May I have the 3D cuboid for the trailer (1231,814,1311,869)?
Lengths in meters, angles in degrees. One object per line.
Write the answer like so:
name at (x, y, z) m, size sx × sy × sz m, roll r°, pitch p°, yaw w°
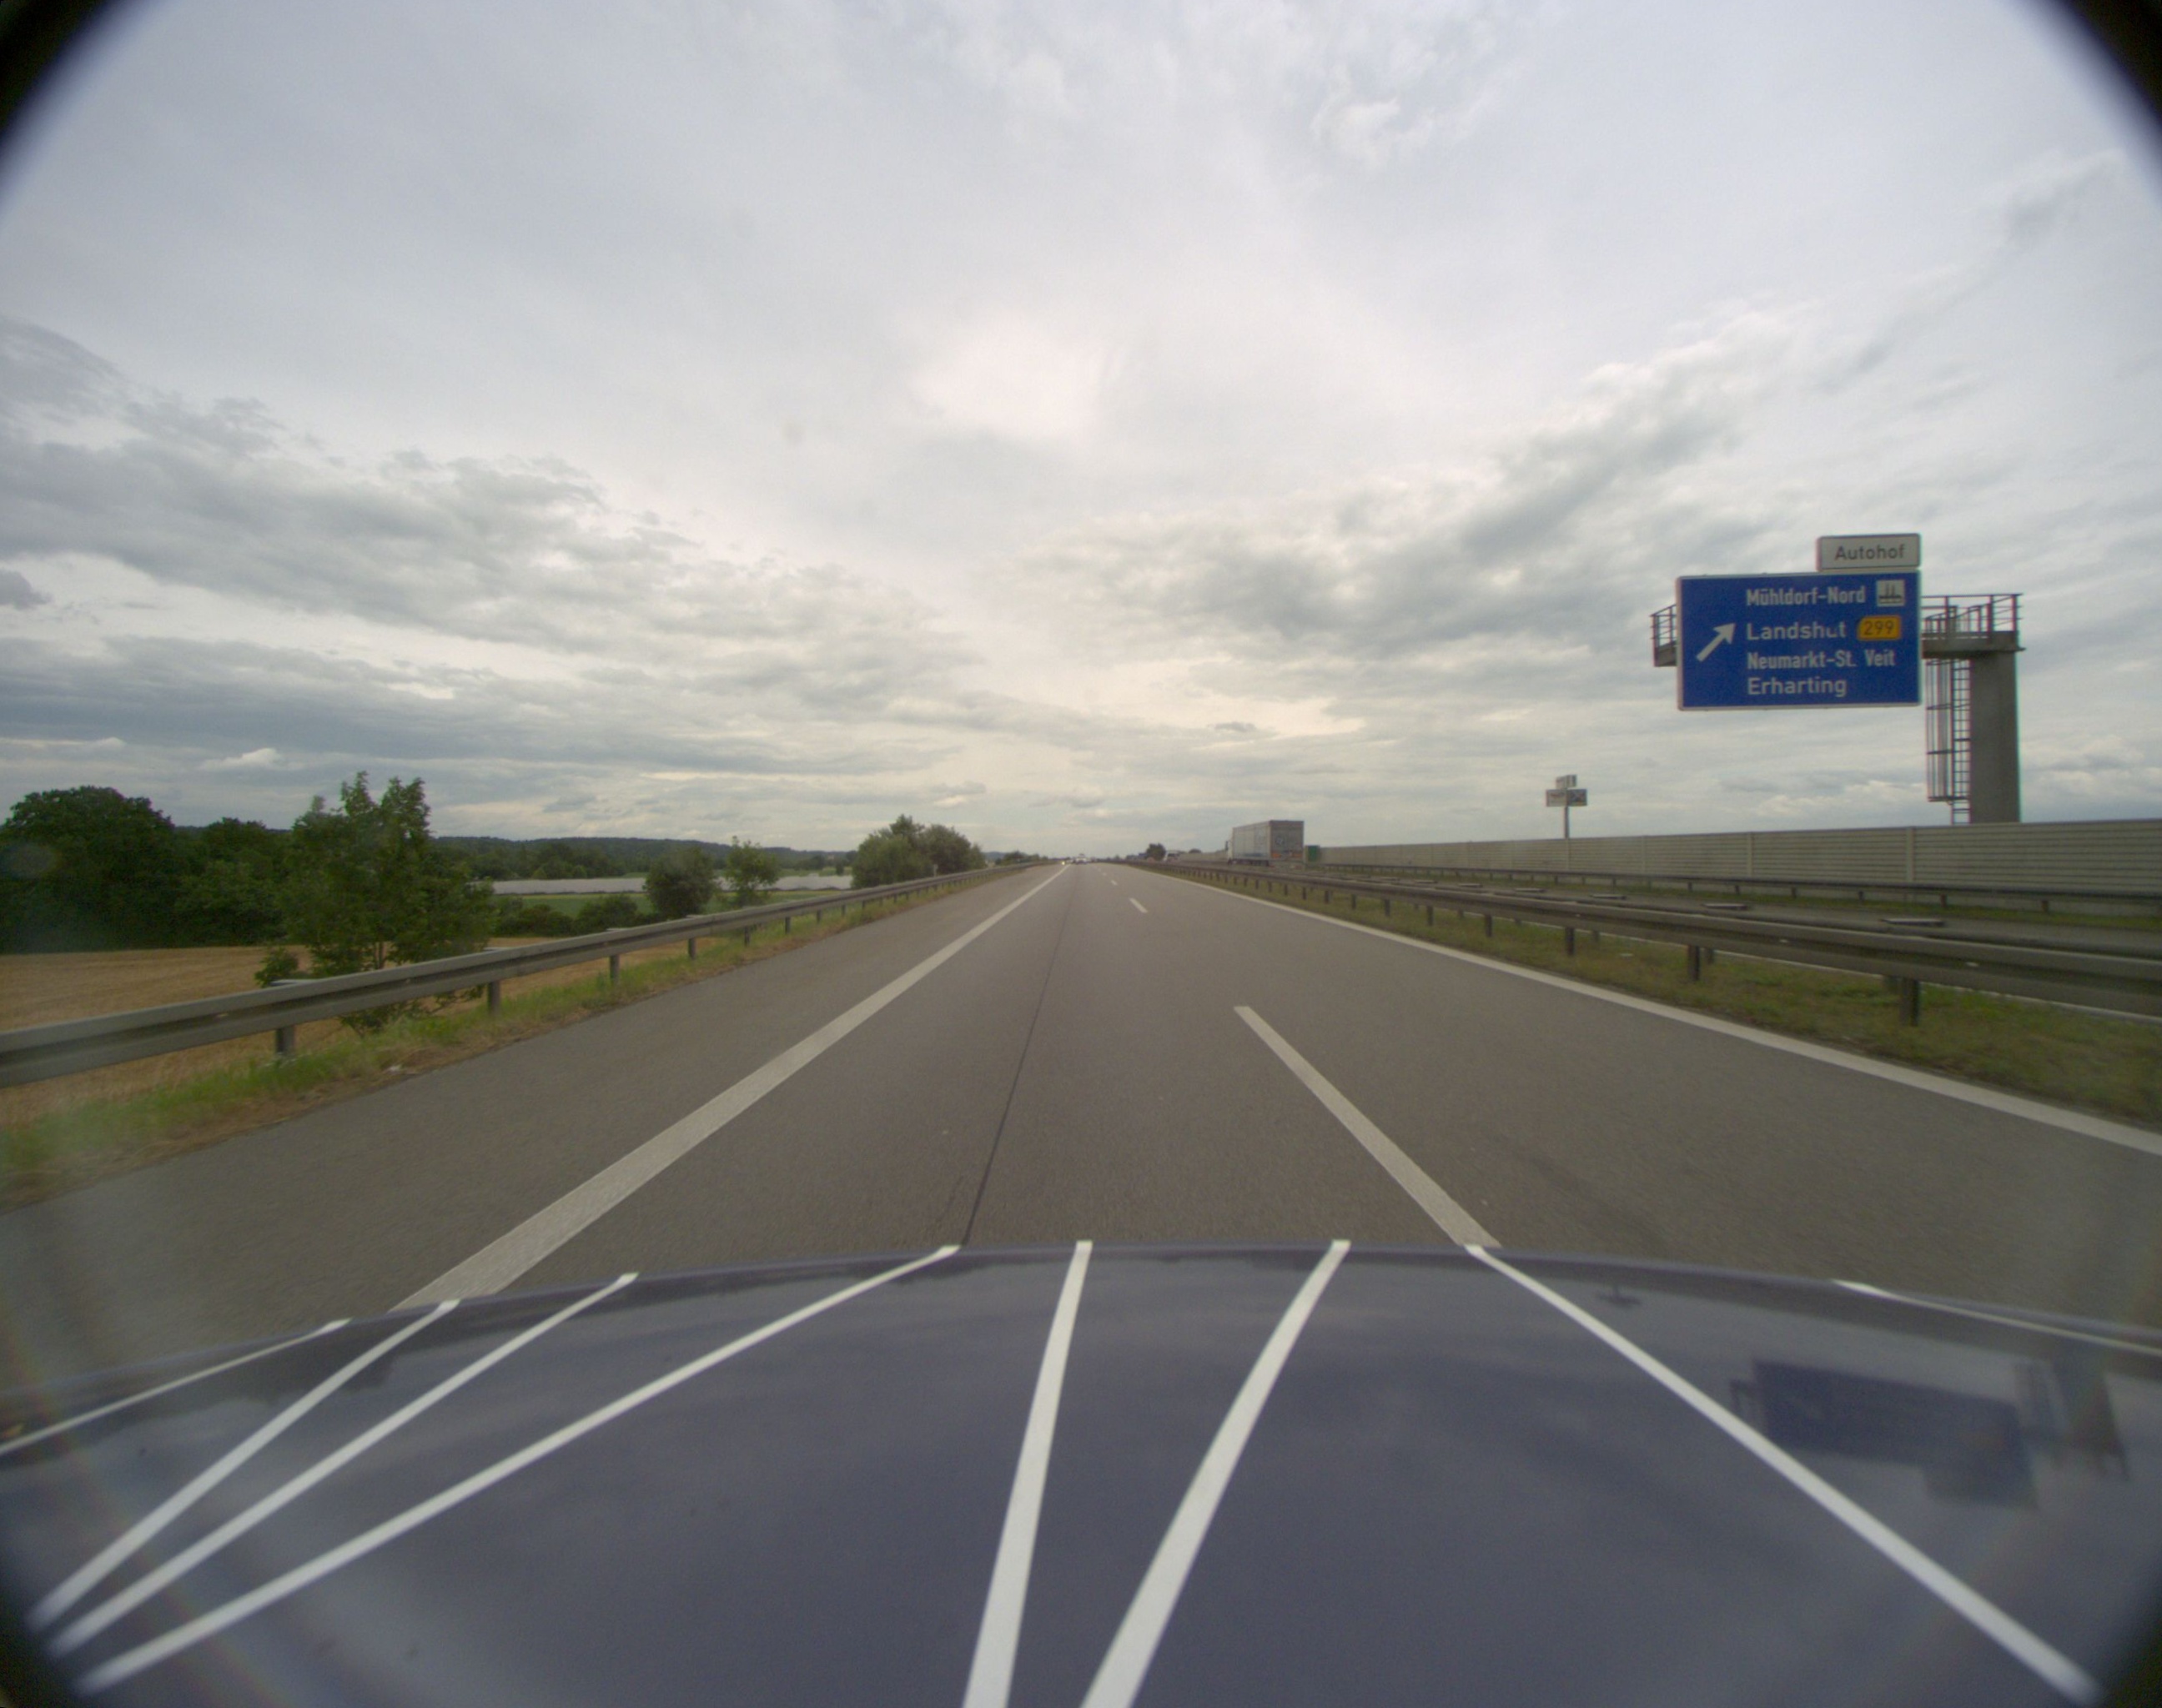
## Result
trailer at (15.491, -0.950, 63.316) m, size 3.187 × 4.052 × 14.022 m, roll 1°, pitch 0°, yaw 0°

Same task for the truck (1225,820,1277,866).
truck at (15.451, -0.989, 69.728) m, size 3.117 × 3.991 × 7.323 m, roll 1°, pitch 0°, yaw 0°

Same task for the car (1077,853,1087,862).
car at (0.134, 0.663, 139.906) m, size 1.850 × 1.664 × 4.200 m, roll 0°, pitch -1°, yaw 0°

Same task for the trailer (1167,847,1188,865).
trailer at (11.346, 0.180, 89.120) m, size 1.819 × 1.836 × 3.862 m, roll -6°, pitch 1°, yaw 0°

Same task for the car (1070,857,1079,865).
car at (-1.543, 1.552, 170.744) m, size 1.851 × 1.850 × 3.999 m, roll 0°, pitch -1°, yaw -3°

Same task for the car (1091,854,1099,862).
car at (3.189, 0.933, 173.141) m, size 1.850 × 1.664 × 4.200 m, roll 0°, pitch -1°, yaw 0°

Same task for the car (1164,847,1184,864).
car at (11.370, 0.141, 93.147) m, size 1.819 × 1.836 × 4.180 m, roll -6°, pitch 1°, yaw 0°
